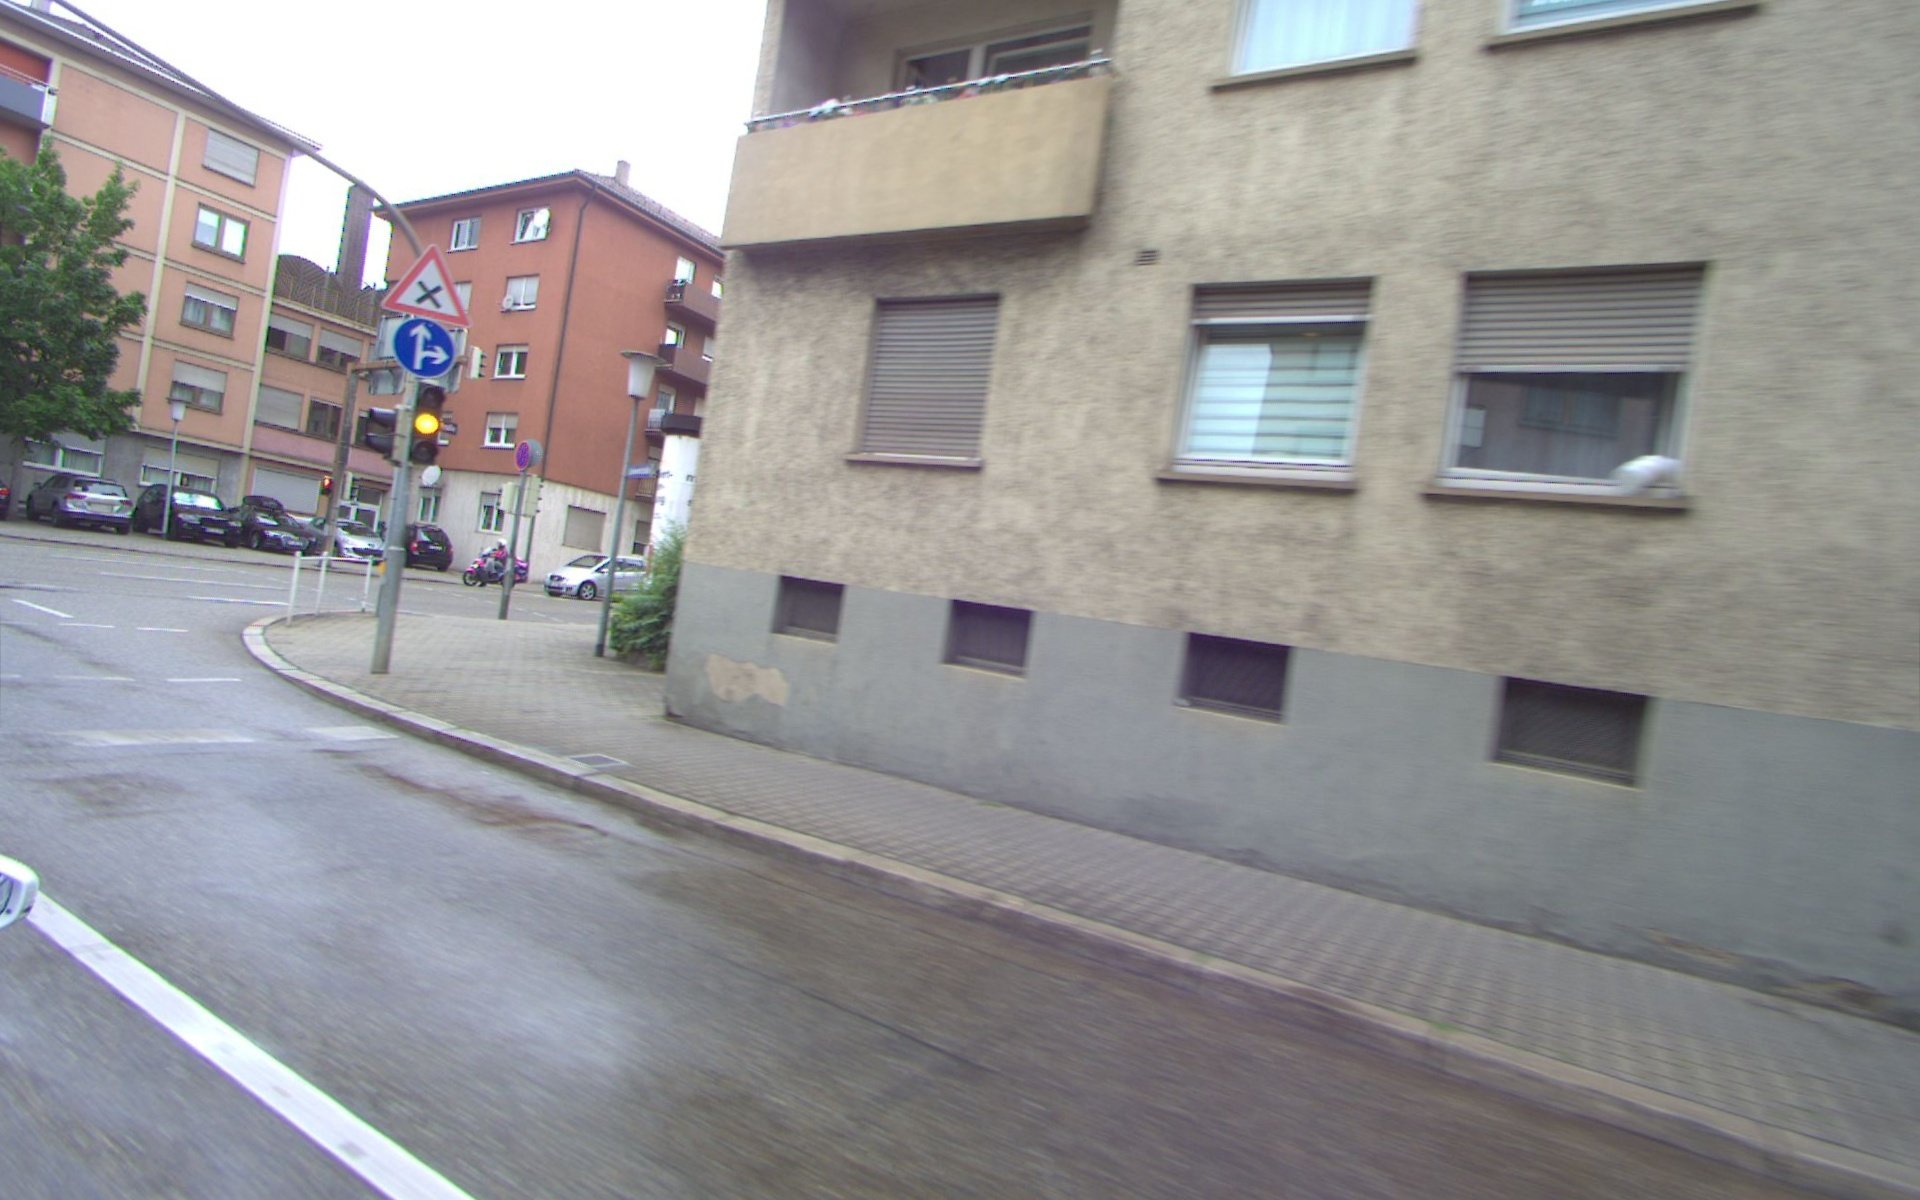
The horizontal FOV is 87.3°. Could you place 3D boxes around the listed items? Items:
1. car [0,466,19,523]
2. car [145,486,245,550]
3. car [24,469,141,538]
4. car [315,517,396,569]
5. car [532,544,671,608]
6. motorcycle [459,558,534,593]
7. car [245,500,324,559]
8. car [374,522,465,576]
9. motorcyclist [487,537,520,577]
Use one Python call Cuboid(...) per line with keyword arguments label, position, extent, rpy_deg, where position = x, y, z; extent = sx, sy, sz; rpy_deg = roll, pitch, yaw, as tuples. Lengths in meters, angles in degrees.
Cuboid(label="car", position=(-29.574, -3.318, 29.474), extent=(4.719, 1.573, 1.846), rpy_deg=(7, -1, 35))
Cuboid(label="car", position=(-25.571, -2.753, 33.588), extent=(3.947, 1.740, 1.982), rpy_deg=(7, 0, 44))
Cuboid(label="car", position=(-27.511, -3.034, 31.495), extent=(3.941, 1.680, 1.986), rpy_deg=(7, -1, 39))
Cuboid(label="car", position=(-22.890, -2.153, 38.041), extent=(1.666, 1.599, 3.952), rpy_deg=(10, -4, -43))
Cuboid(label="car", position=(-11.922, -0.767, 33.661), extent=(1.811, 1.573, 3.992), rpy_deg=(7, -1, 32))
Cuboid(label="motorcycle", position=(-15.541, -0.806, 33.804), extent=(0.626, 0.938, 2.362), rpy_deg=(6, 0, 25))
Cuboid(label="car", position=(-24.301, -2.544, 36.116), extent=(1.789, 1.717, 3.955), rpy_deg=(10, -2, -40))
Cuboid(label="car", position=(-21.803, -2.078, 40.513), extent=(3.949, 1.724, 1.991), rpy_deg=(5, -4, 45))
Cuboid(label="motorcyclist", position=(-15.382, -1.457, 33.884), extent=(0.643, 1.239, 0.657), rpy_deg=(8, 1, 25))
